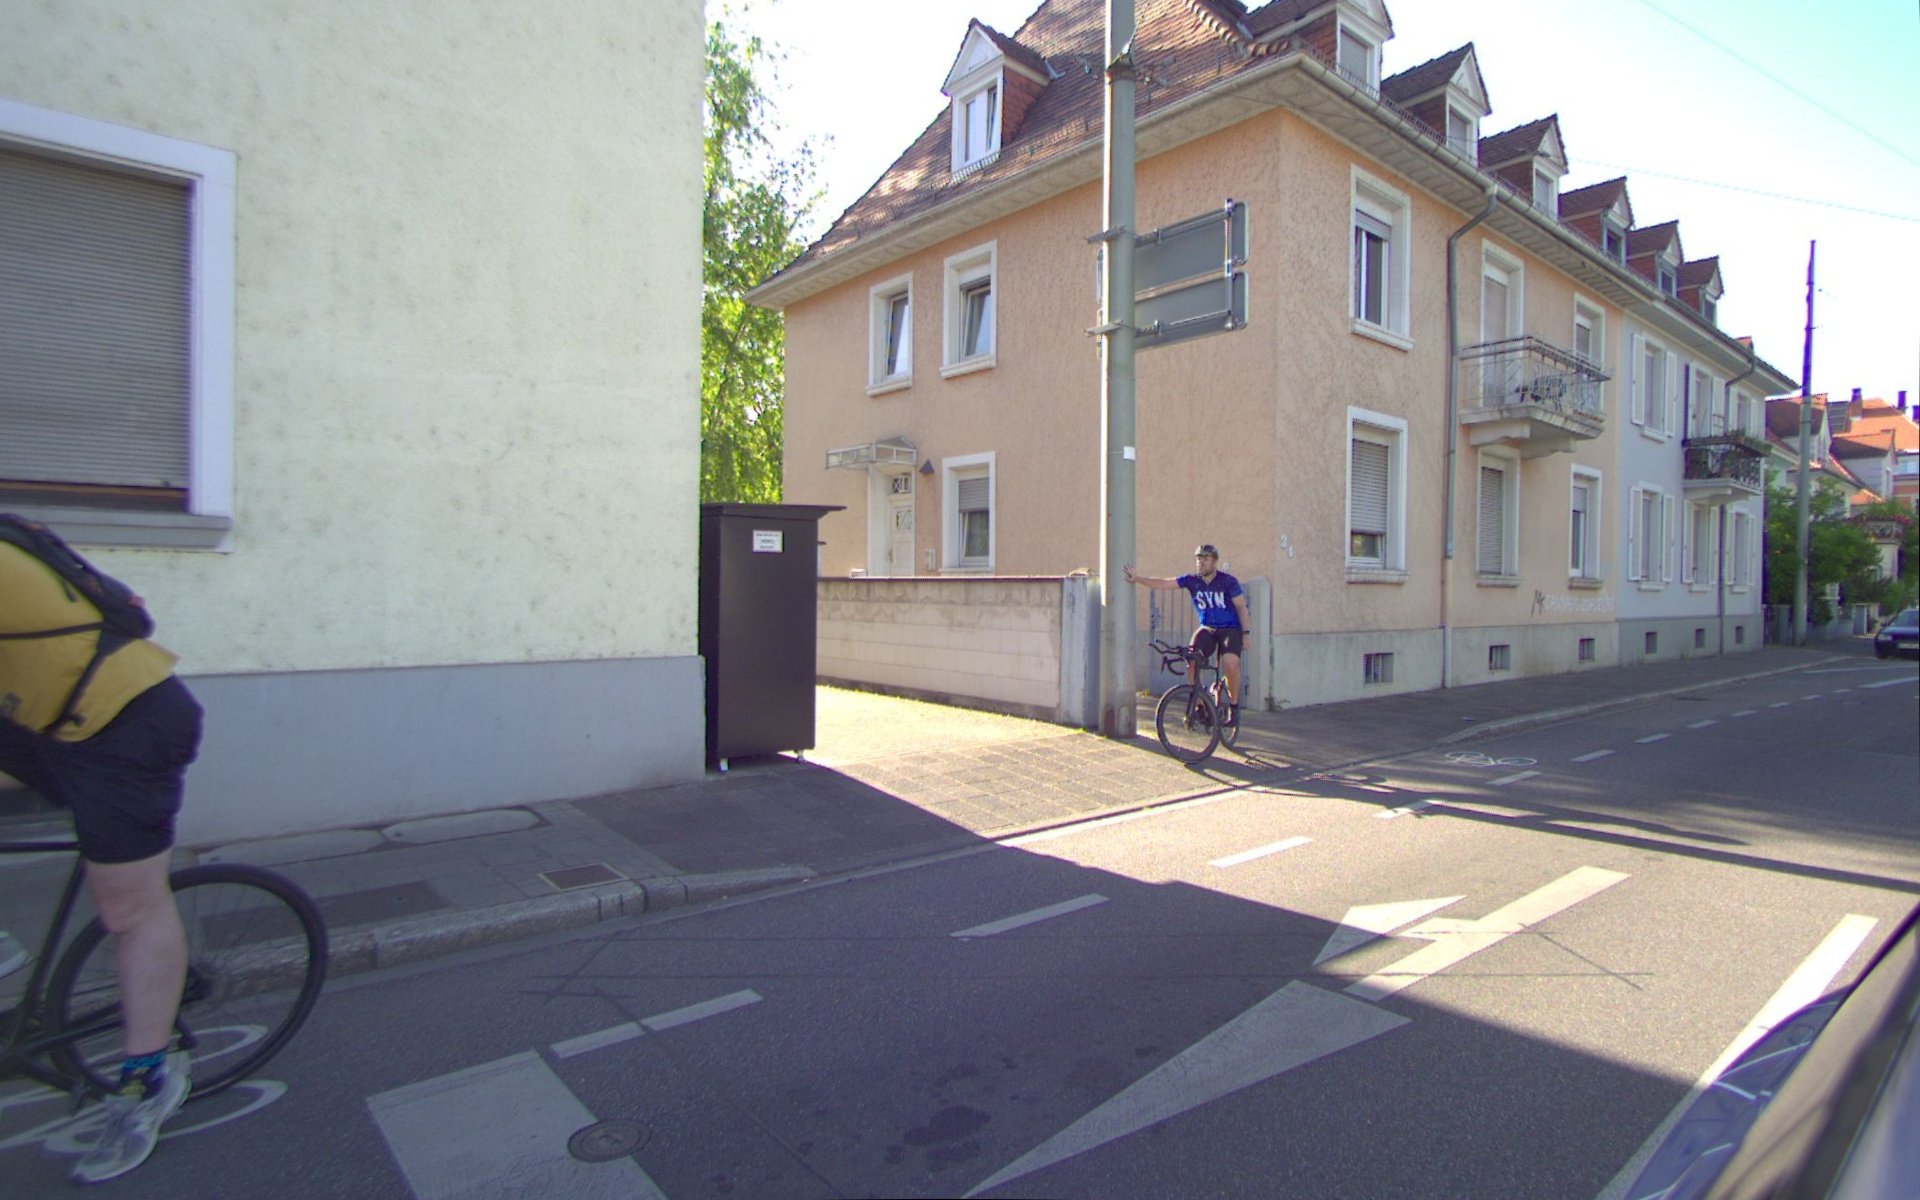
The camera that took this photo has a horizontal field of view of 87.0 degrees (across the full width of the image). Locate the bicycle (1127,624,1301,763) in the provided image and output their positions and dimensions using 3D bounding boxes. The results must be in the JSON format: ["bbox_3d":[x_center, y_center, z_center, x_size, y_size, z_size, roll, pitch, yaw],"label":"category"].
[{"bbox_3d":[2.338,0.798,9.210,1.689,1.064,0.595,0,6,-41],"label":"bicycle"}]

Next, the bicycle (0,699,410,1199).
[{"bbox_3d":[-2.459,0.894,2.575,1.778,1.101,0.611,0,1,-41],"label":"bicycle"}]

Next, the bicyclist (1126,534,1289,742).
[{"bbox_3d":[2.306,0.307,9.487,0.838,1.758,1.072,0,6,-40],"label":"bicyclist"}]

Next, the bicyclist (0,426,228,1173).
[{"bbox_3d":[-2.458,0.462,2.554,0.939,1.743,0.582,0,0,-41],"label":"bicyclist"}]

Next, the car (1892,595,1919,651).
[{"bbox_3d":[26.648,0.610,27.323,3.932,1.438,1.845,0,1,-42],"label":"car"}]
